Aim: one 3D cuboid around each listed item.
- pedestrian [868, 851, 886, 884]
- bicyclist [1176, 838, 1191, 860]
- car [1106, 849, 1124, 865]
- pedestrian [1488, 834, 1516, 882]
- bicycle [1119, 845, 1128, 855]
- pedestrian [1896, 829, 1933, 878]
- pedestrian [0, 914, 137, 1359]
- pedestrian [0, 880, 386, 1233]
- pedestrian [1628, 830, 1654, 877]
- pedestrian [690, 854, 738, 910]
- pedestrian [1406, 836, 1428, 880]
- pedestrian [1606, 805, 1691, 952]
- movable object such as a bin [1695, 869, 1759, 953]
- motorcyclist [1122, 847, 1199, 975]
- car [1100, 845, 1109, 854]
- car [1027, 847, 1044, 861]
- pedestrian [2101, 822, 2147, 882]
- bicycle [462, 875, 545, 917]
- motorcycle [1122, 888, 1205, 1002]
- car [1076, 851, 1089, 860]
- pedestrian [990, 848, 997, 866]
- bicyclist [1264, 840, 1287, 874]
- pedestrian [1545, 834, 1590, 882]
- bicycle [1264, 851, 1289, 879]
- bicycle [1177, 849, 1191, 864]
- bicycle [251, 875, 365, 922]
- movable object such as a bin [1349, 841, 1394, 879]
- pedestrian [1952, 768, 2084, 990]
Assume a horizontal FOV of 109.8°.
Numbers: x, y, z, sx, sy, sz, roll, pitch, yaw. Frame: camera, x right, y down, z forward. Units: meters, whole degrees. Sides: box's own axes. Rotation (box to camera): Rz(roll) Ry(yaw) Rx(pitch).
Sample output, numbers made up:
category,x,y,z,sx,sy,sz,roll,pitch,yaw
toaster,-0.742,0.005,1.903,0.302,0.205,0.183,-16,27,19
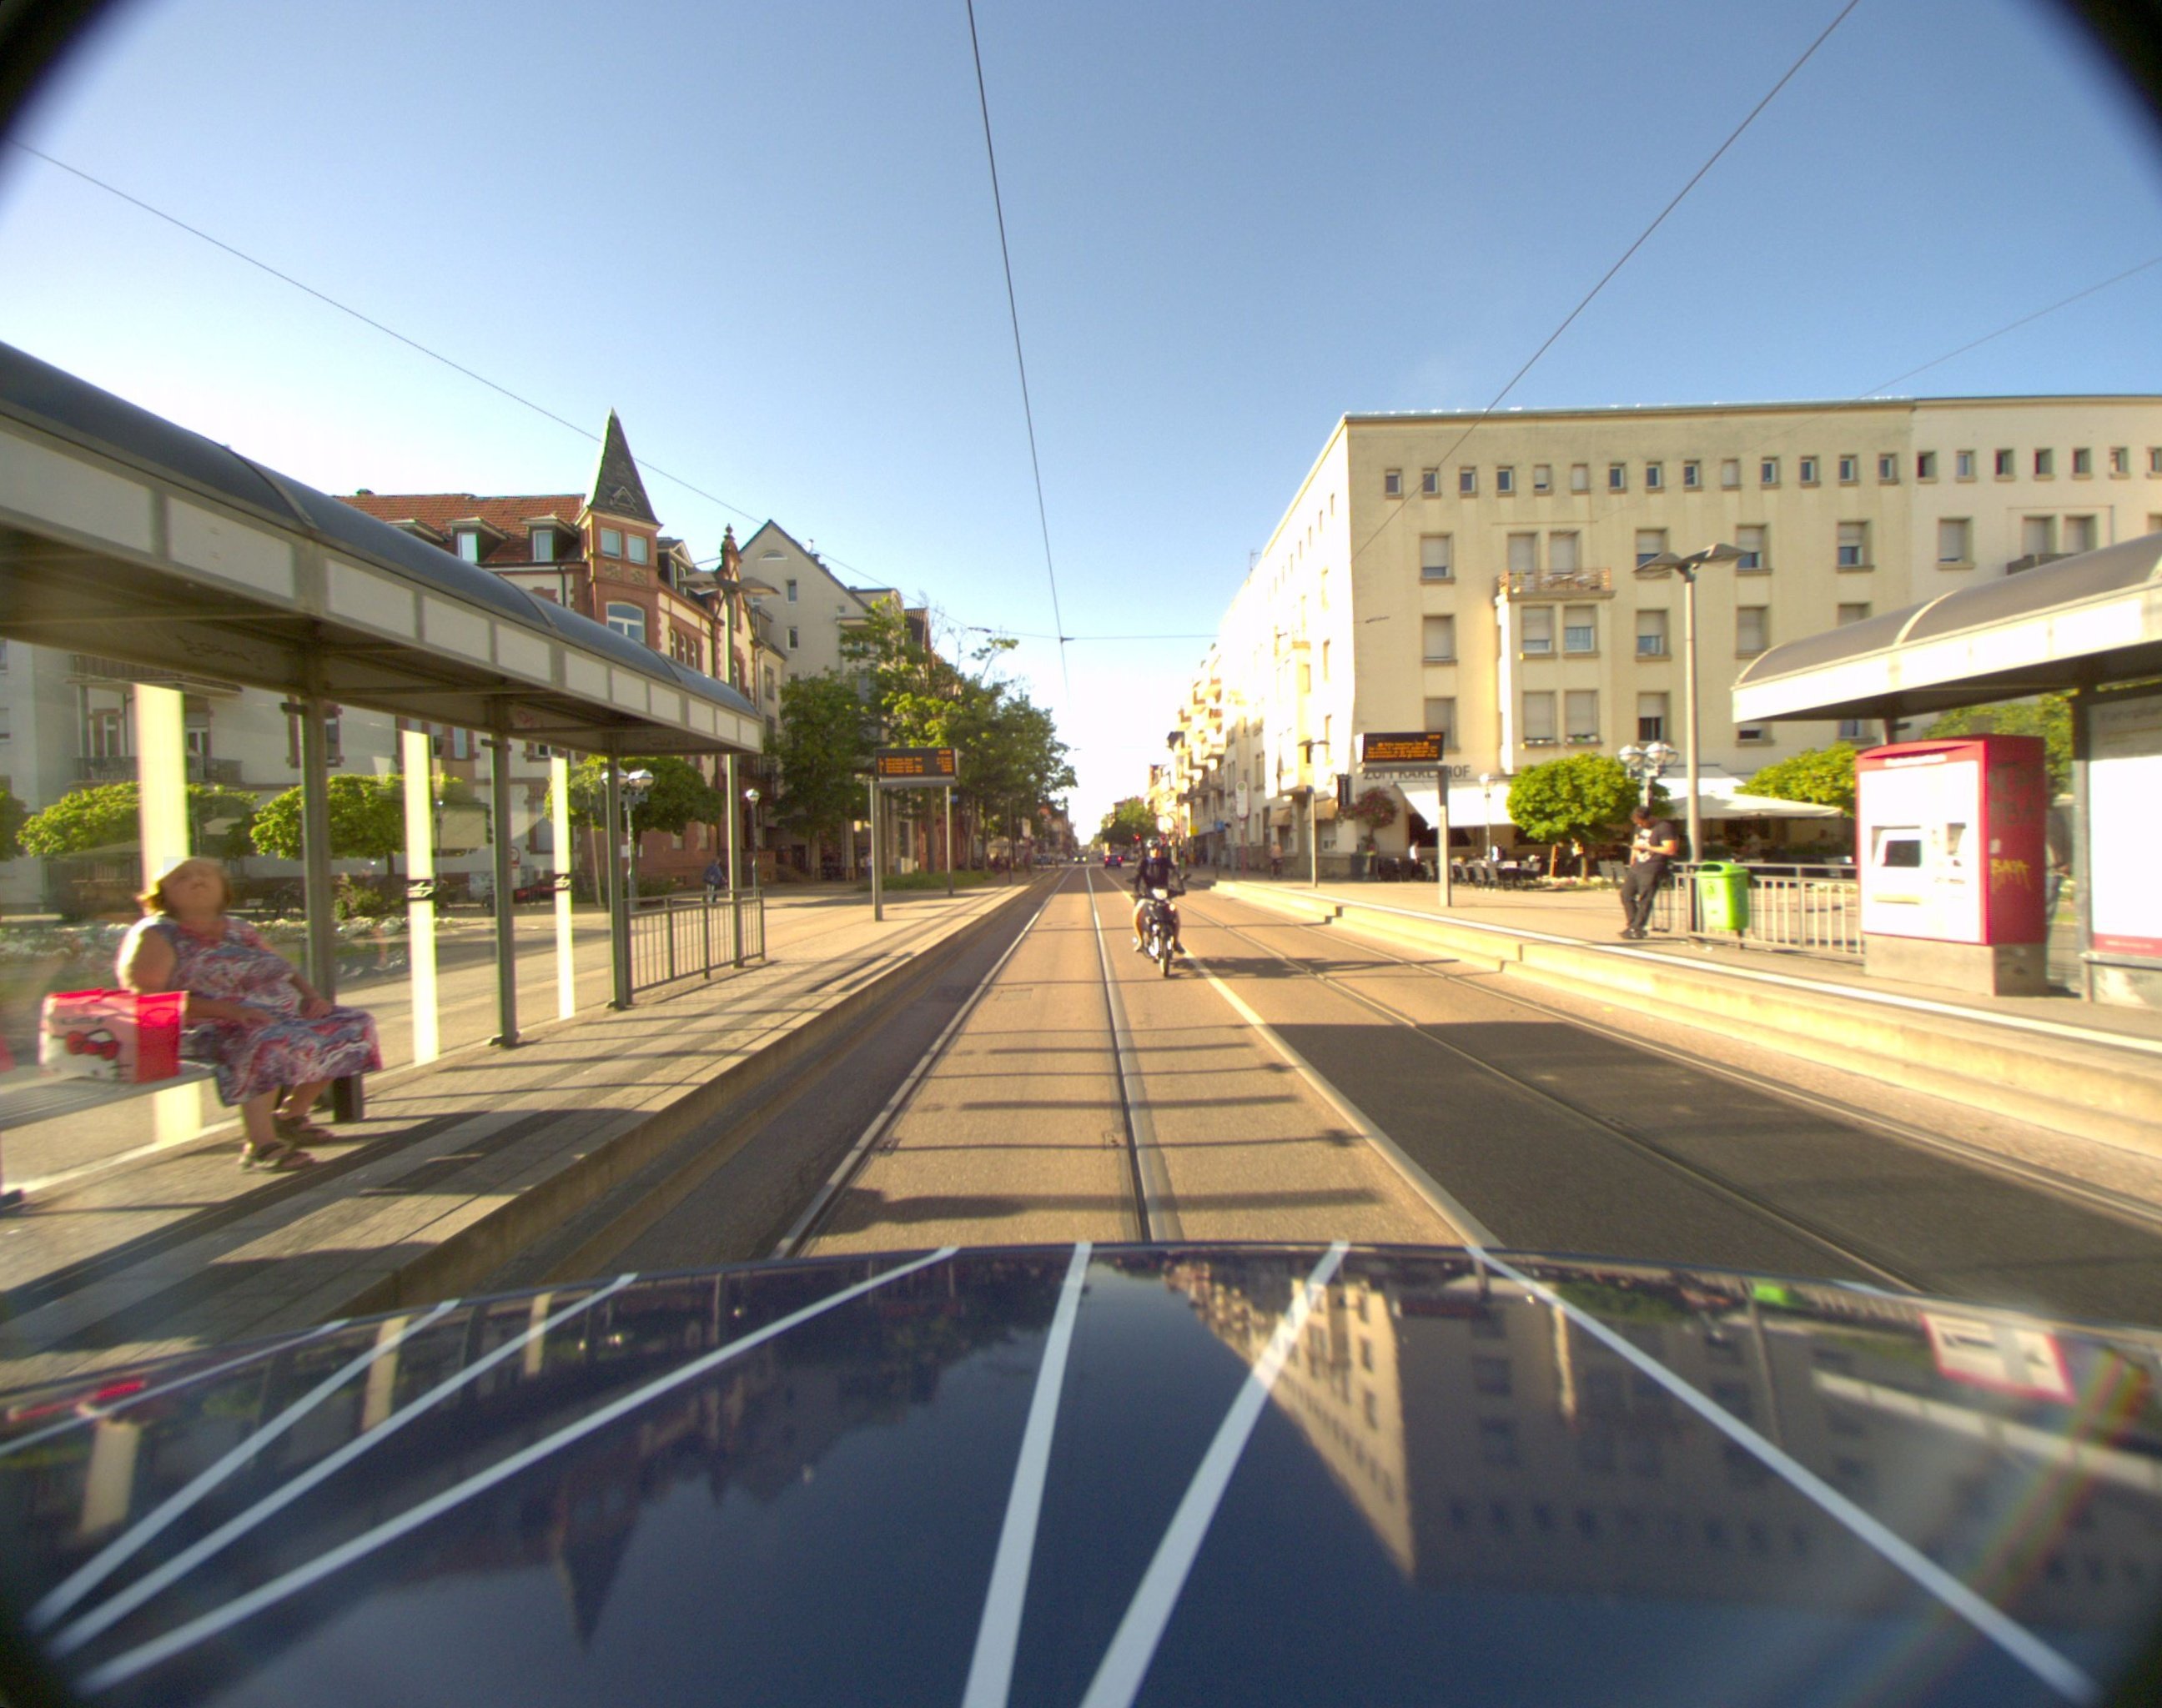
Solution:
category,x,y,z,sx,sy,sz,roll,pitch,yaw
pedestrian,-10.941,0.720,40.784,0.742,1.725,0.877,-2,1,-6
bicyclist,8.231,-0.406,60.967,1.006,1.783,1.095,-2,1,-3
car,3.366,0.253,76.290,1.671,1.479,4.000,-2,1,1
pedestrian,14.674,0.159,26.483,0.672,1.634,0.678,-2,-2,41
bicycle,7.483,-0.709,134.027,1.228,1.719,3.105,-2,1,-6
pedestrian,29.831,0.006,27.191,0.675,1.726,0.683,1,-2,-27
pedestrian,-3.564,0.844,1.950,1.001,1.218,0.923,-4,1,1
pedestrian,-3.848,0.826,3.349,0.861,1.327,0.623,-4,1,1
pedestrian,21.708,-0.027,29.432,0.578,1.813,0.647,-2,1,-36
pedestrian,-11.337,0.849,23.497,1.070,1.659,0.956,-2,1,-12
pedestrian,12.724,0.176,28.785,0.672,1.634,0.752,-1,-2,28
pedestrian,6.818,0.278,9.154,0.550,1.708,0.607,1,1,3
movable object such as a bin,6.913,0.602,8.144,0.337,0.855,0.416,-1,1,3
motorcyclist,0.953,0.658,9.393,0.821,1.466,1.114,-1,1,1
car,5.510,-1.101,178.078,1.877,2.105,4.000,-2,1,2
car,-6.909,0.035,115.241,1.998,2.002,4.001,-1,1,4
pedestrian,30.501,-0.034,22.227,0.675,1.726,0.718,1,-2,-39
bicycle,-18.141,1.291,23.986,0.790,1.062,2.804,-2,2,-8
motorcycle,0.961,1.043,9.476,0.799,1.090,2.428,-1,1,1
car,0.219,0.161,116.492,1.998,1.318,3.863,-2,1,1
pedestrian,-9.870,0.358,85.496,0.653,2.002,0.559,-2,1,3
bicyclist,8.488,0.123,33.177,0.829,1.447,0.877,-2,1,6
pedestrian,17.119,0.153,26.764,1.066,1.634,0.757,0,-2,-4
bicycle,8.500,0.468,33.122,0.729,1.107,1.977,-2,1,6
bicycle,8.279,0.201,61.064,0.714,1.119,2.035,-2,1,-4
bicycle,-25.714,1.444,25.388,0.746,1.364,2.914,-2,1,1
movable object such as a bin,11.286,0.221,29.566,1.318,1.392,1.128,-1,1,-1
pedestrian,8.141,0.209,6.620,0.429,1.848,0.526,1,1,4
